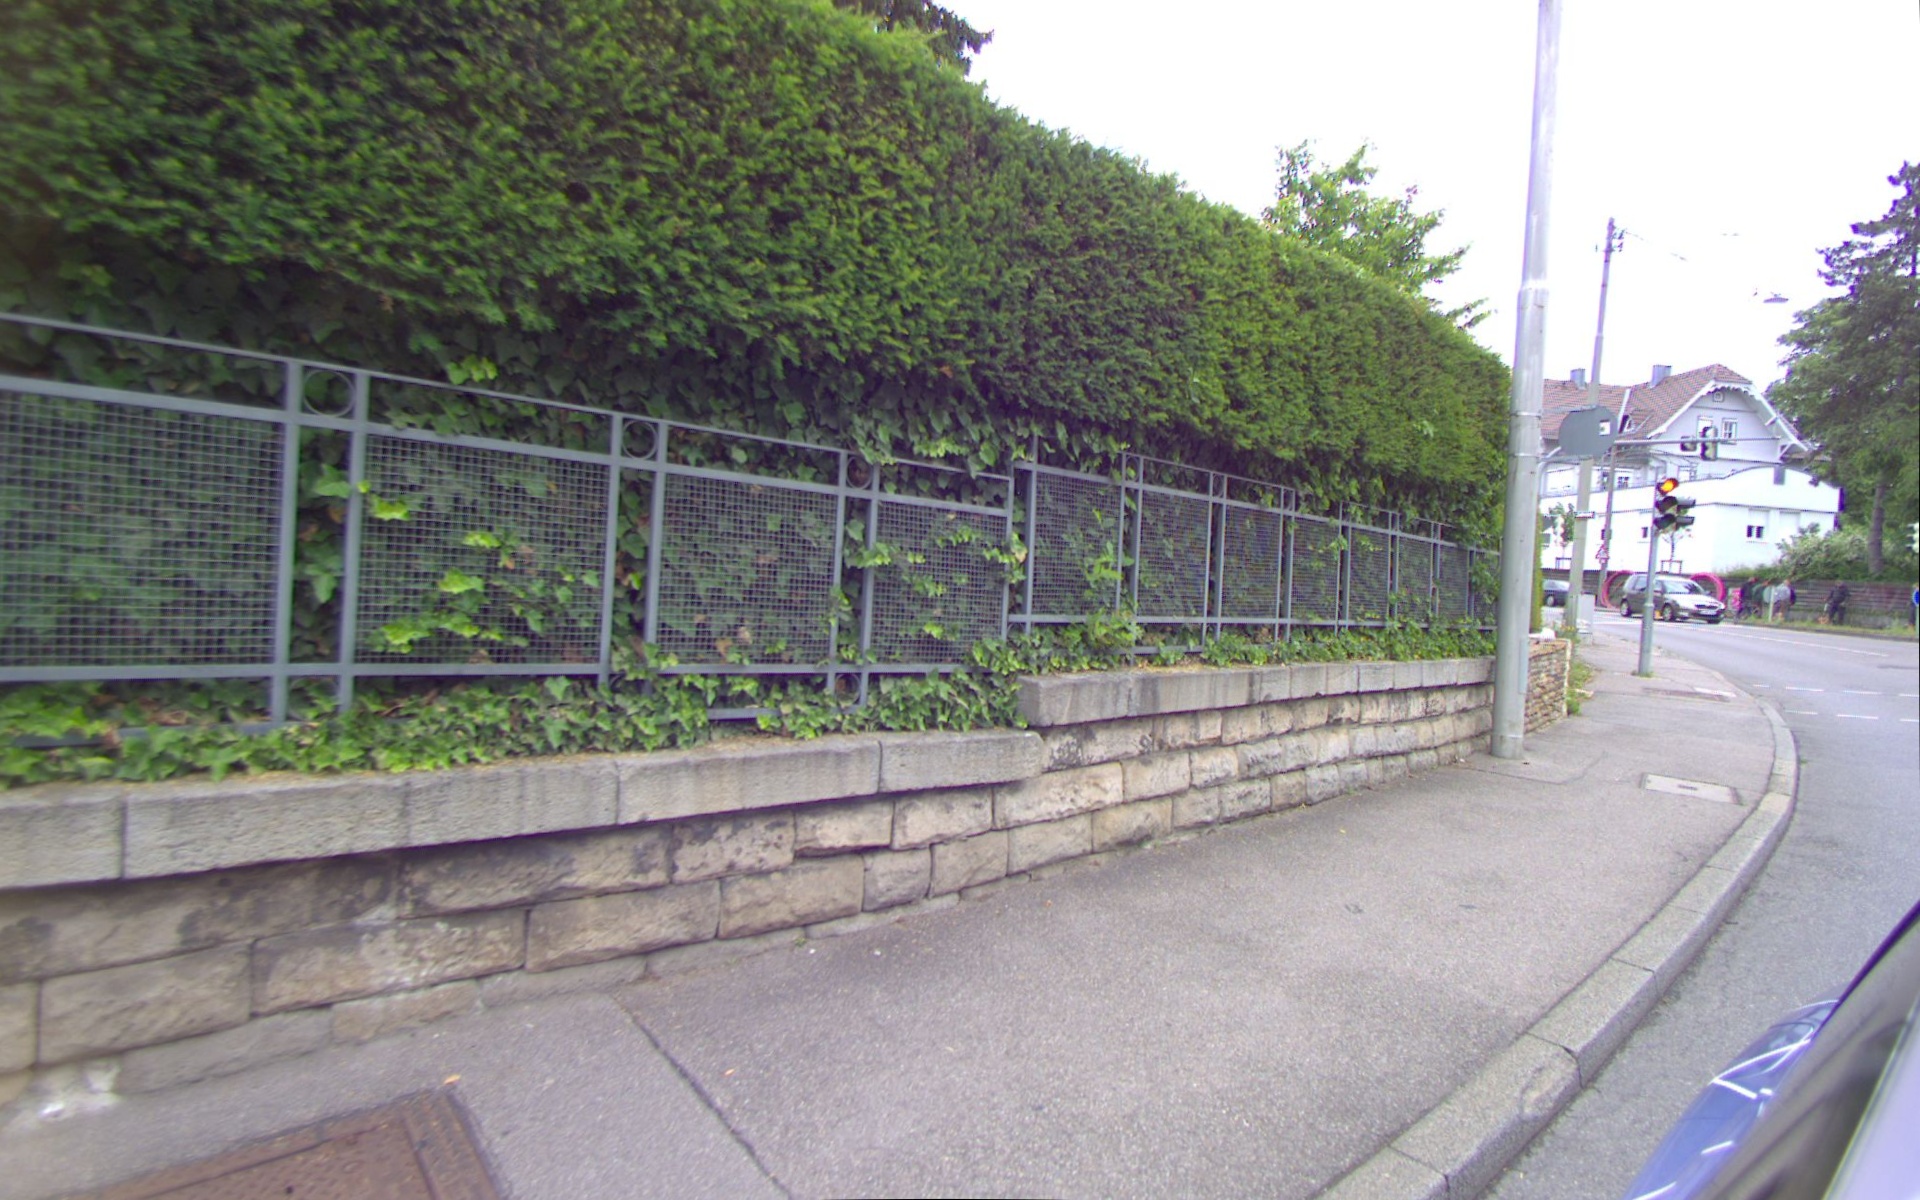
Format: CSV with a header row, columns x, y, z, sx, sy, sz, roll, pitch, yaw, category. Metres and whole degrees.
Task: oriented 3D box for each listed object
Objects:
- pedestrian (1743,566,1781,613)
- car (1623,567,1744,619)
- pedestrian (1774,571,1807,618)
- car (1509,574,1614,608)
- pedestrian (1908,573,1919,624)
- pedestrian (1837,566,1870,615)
x,y,z,sx,sy,sz,roll,pitch,yaw,category
32.996,-0.433,41.631,0.862,1.836,0.689,2,3,-11,pedestrian
25.138,-0.307,35.346,1.590,1.599,3.996,2,3,6,car
32.816,-0.212,39.995,0.600,1.809,0.668,3,3,-10,pedestrian
29.375,-0.484,49.633,1.815,1.344,4.877,2,3,-6,car
35.118,-0.037,36.750,0.664,1.857,0.614,3,3,-13,pedestrian
34.601,-0.363,39.198,0.591,1.857,0.614,3,3,-12,pedestrian
